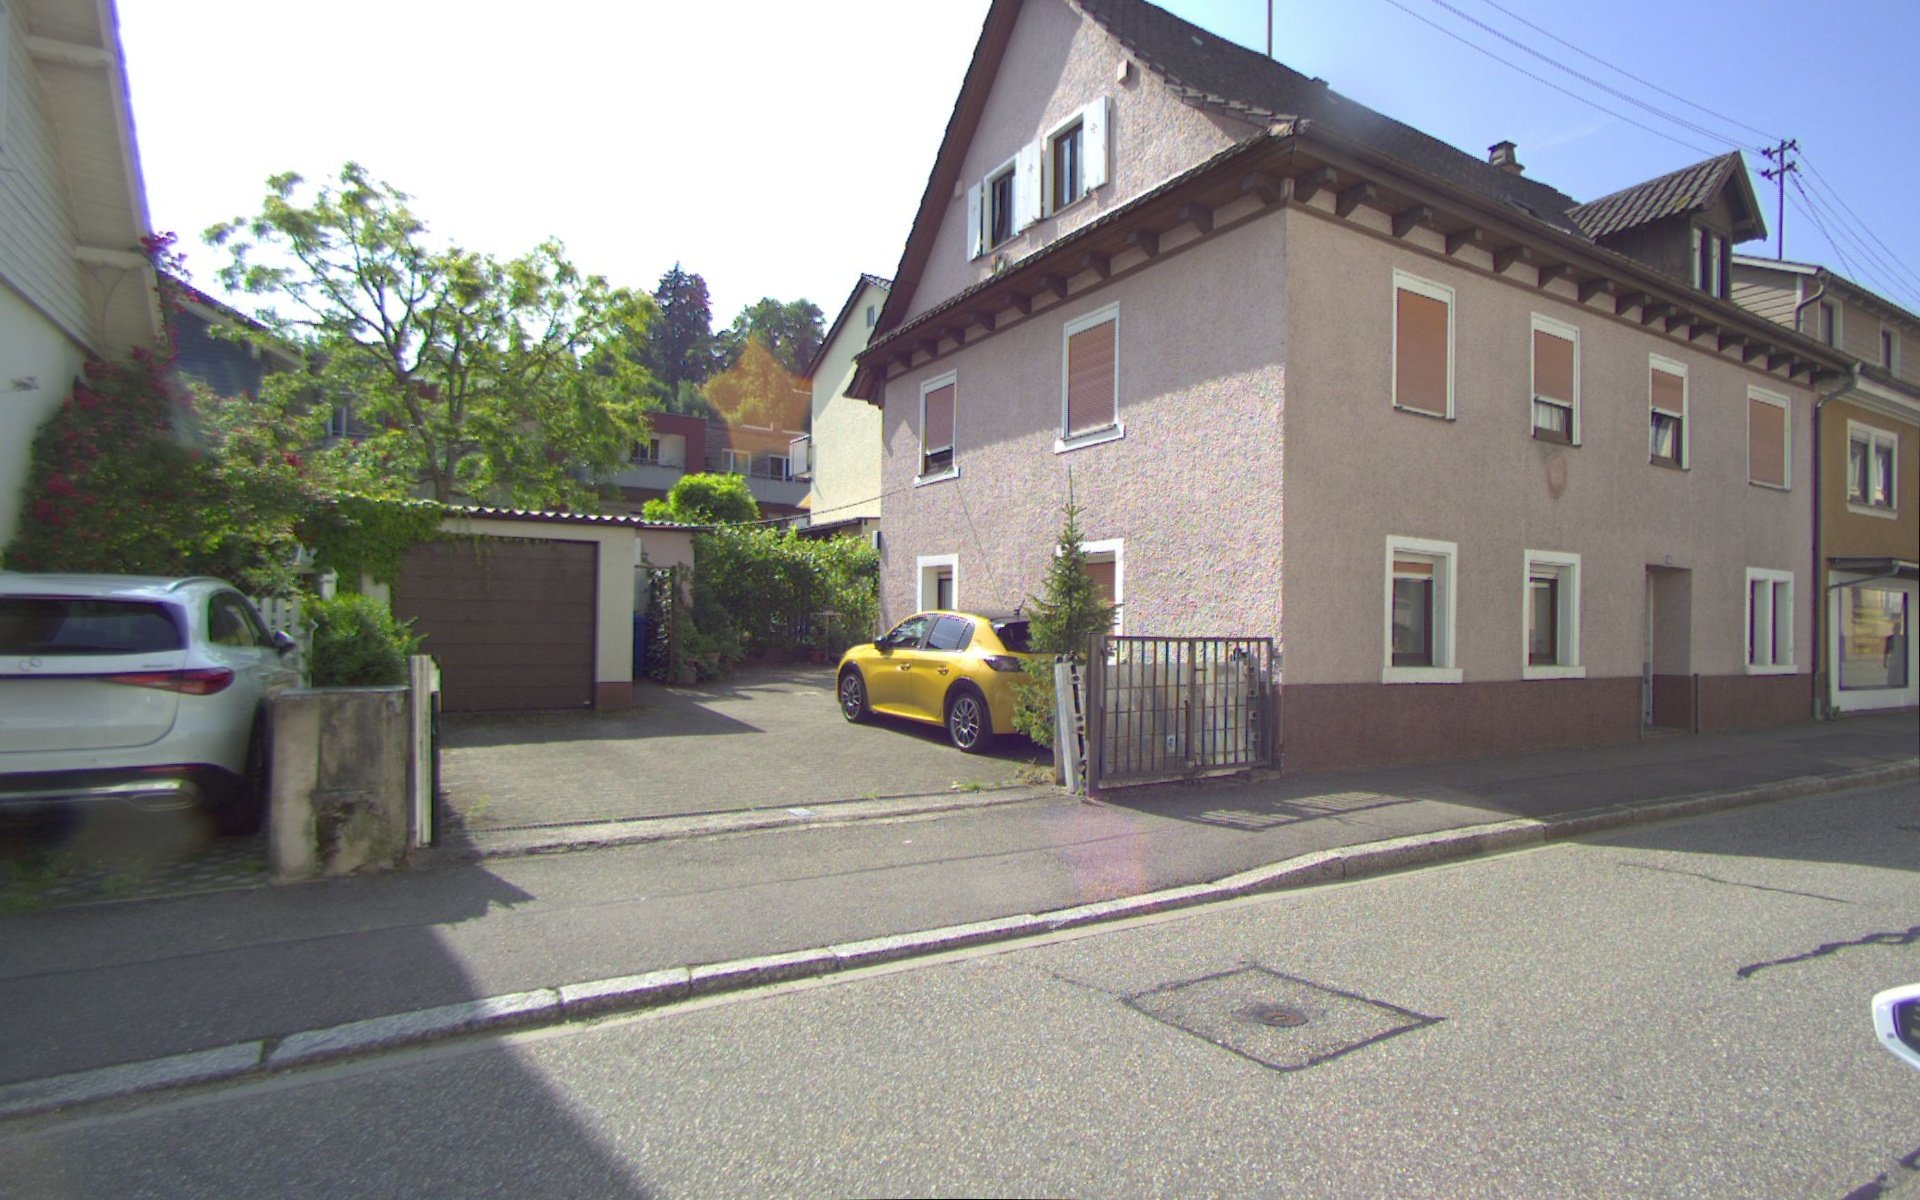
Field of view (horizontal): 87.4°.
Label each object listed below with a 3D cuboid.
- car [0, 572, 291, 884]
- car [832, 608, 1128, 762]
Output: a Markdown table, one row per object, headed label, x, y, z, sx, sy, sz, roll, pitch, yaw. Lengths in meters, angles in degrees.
| label | x | y | z | sx | sy | sz | roll | pitch | yaw |
| --- | --- | --- | --- | --- | --- | --- | --- | --- | --- |
| car | -5.858 | 0.659 | 6.987 | 1.887 | 1.615 | 3.964 | 1 | 0 | -33 |
| car | 0.068 | 0.845 | 11.666 | 1.628 | 1.411 | 3.728 | 1 | 0 | -33 |
